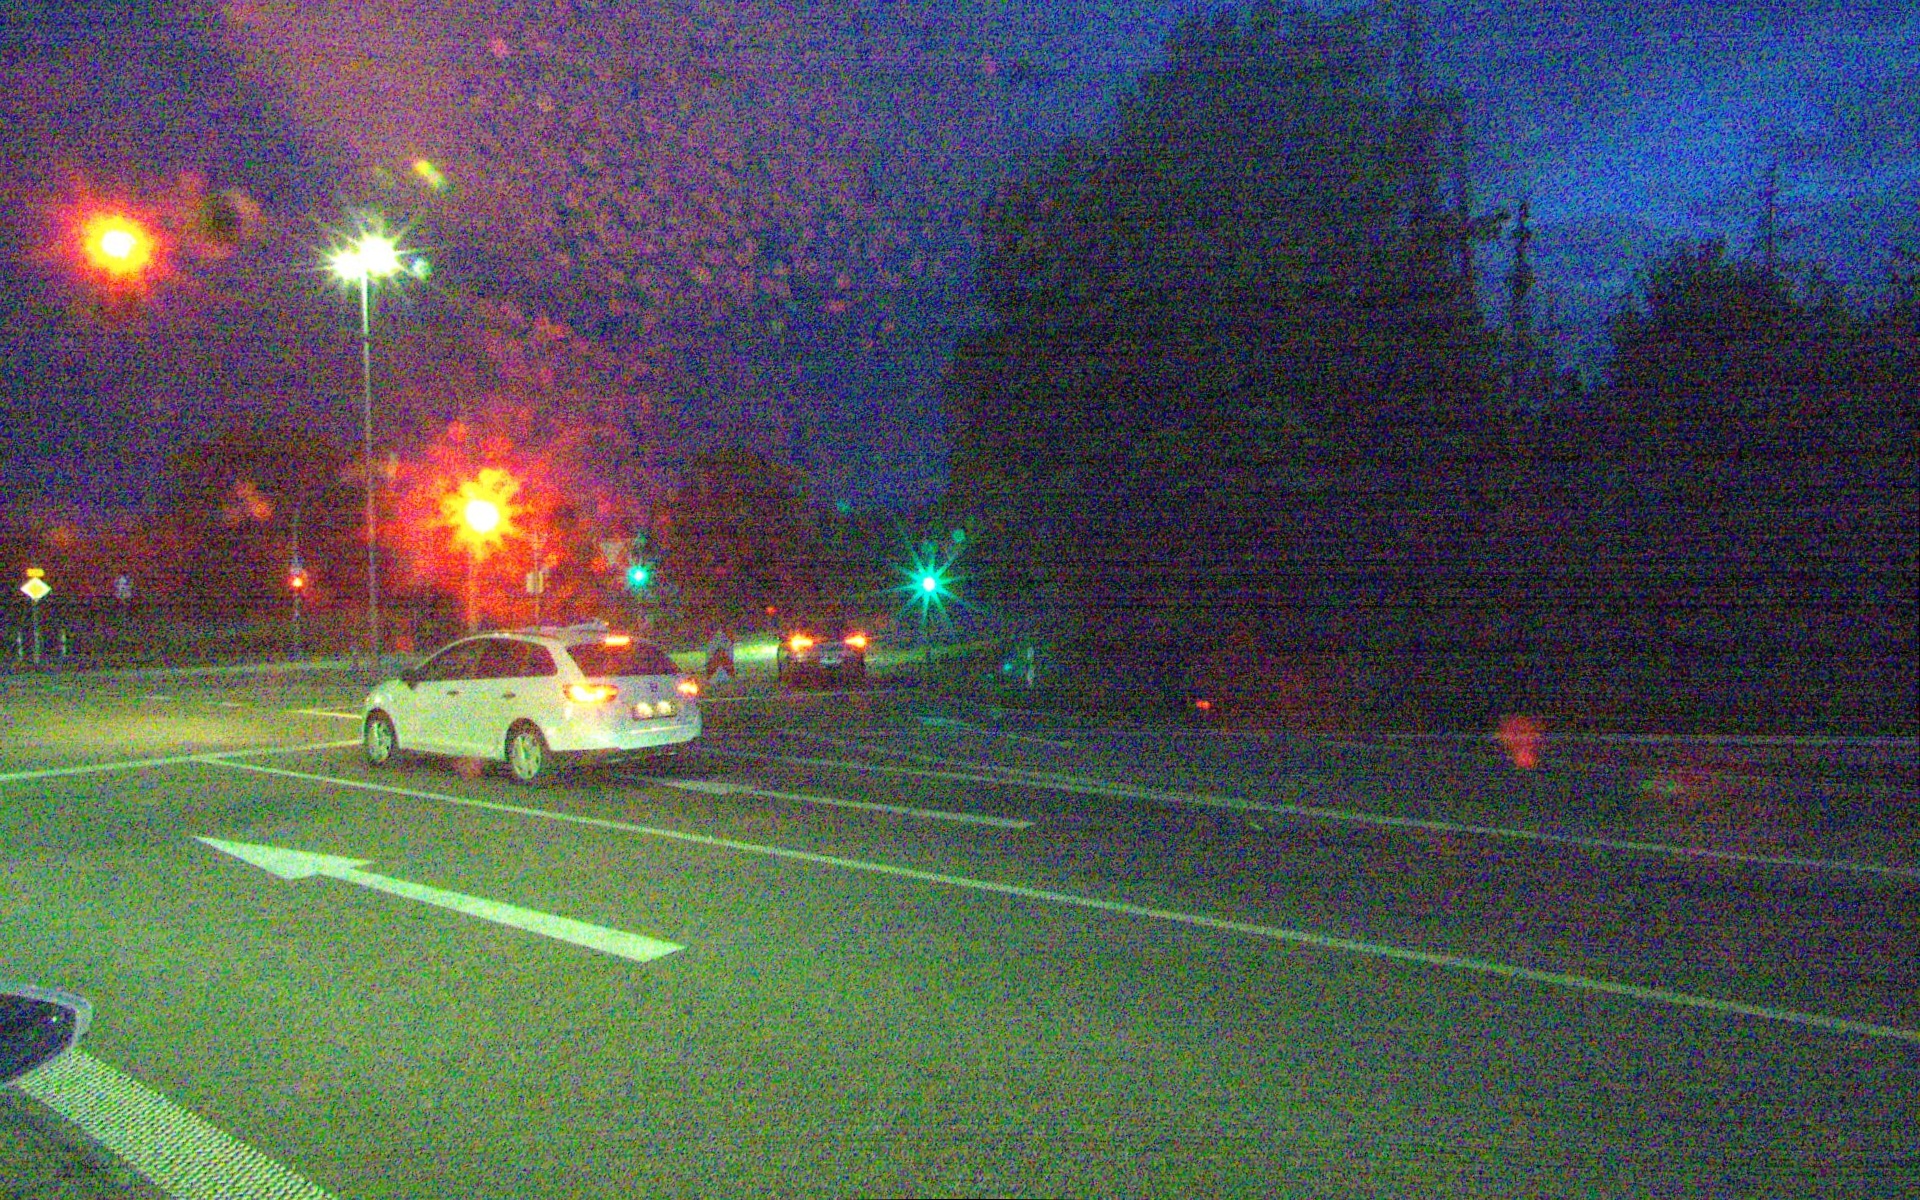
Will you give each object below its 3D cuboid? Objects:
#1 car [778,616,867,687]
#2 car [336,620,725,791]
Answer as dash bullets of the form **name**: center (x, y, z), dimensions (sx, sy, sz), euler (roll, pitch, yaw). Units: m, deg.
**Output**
- **car**: center (-3.459, 1.214, 24.647), dimensions (1.709, 1.593, 4.055), euler (1, -1, -15)
- **car**: center (-4.509, 0.952, 10.376), dimensions (4.056, 1.462, 1.617), euler (-1, 0, 30)
